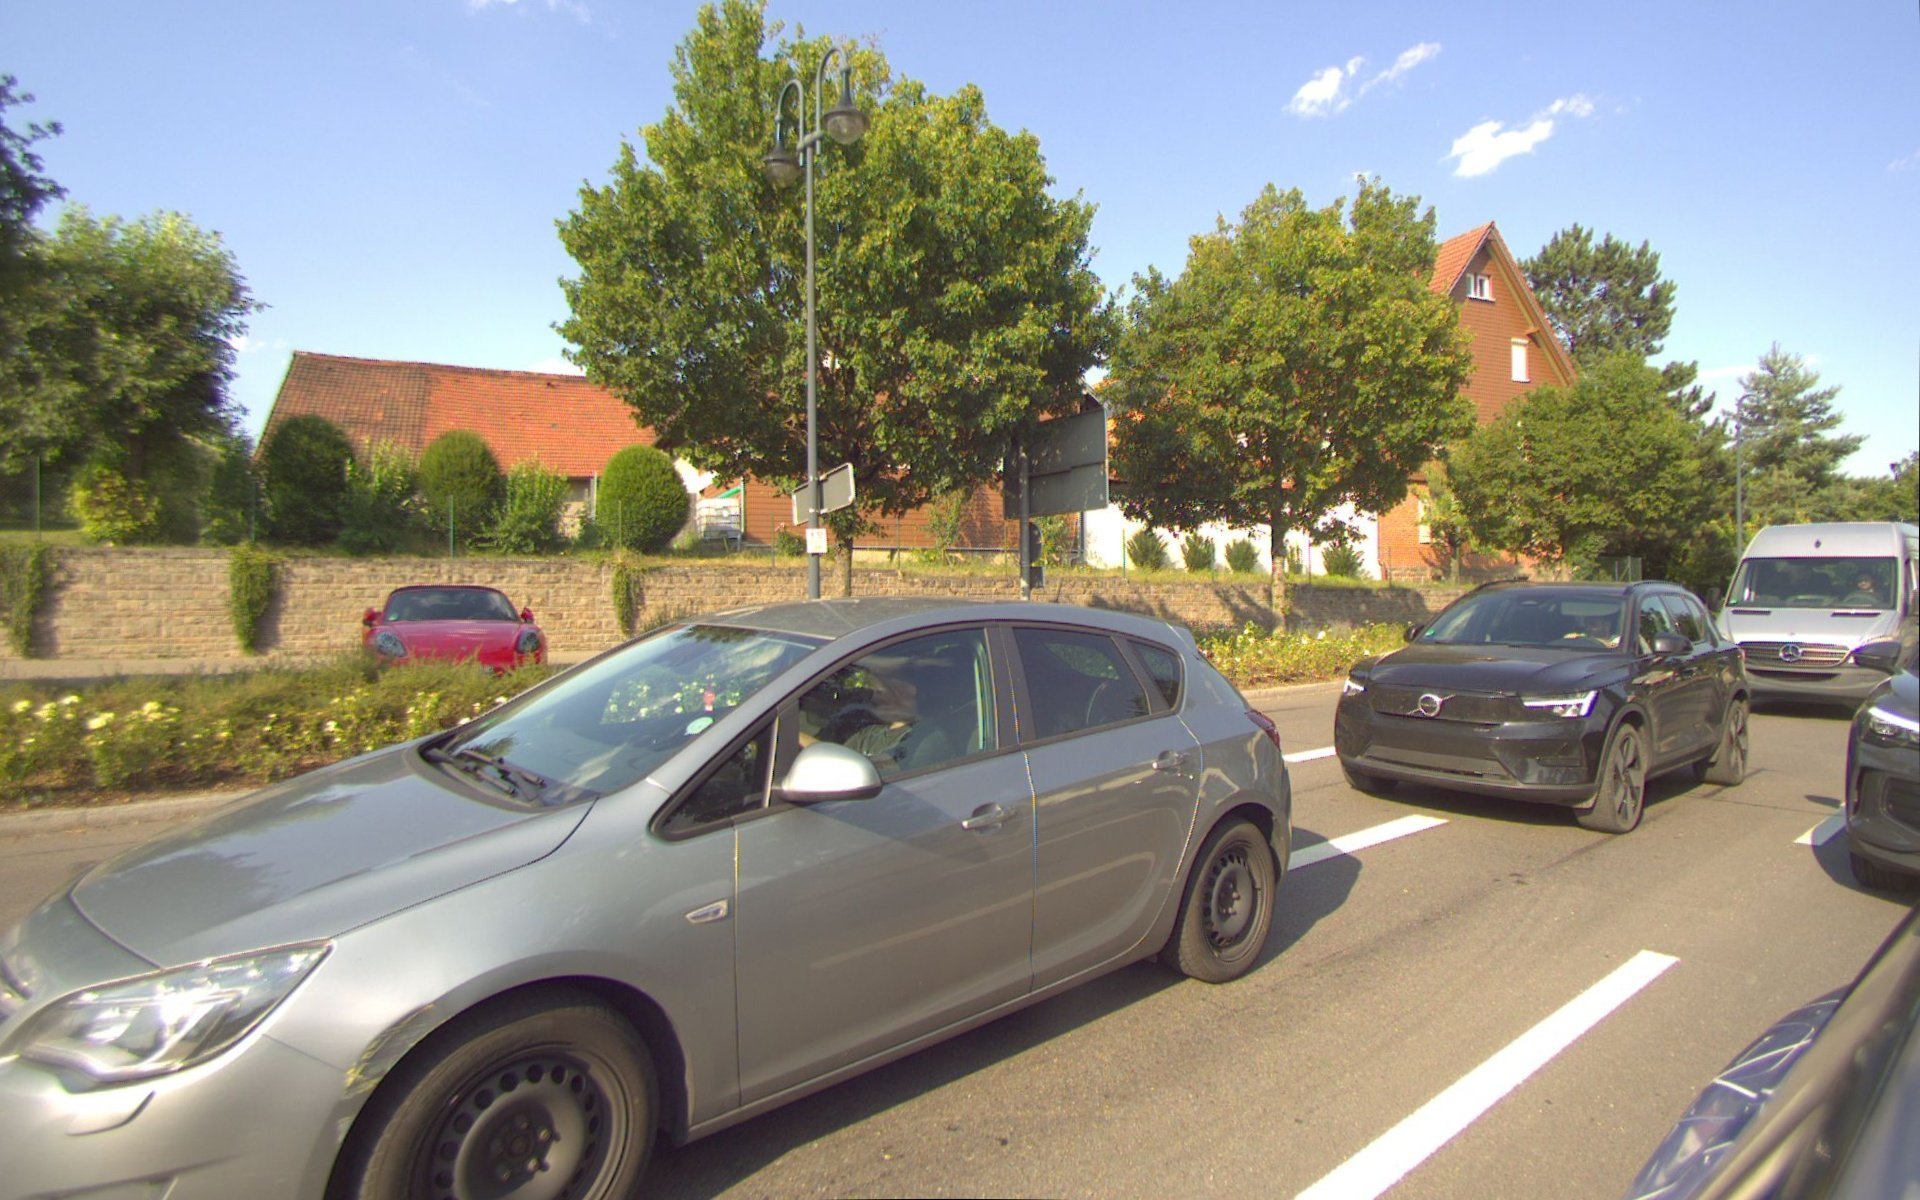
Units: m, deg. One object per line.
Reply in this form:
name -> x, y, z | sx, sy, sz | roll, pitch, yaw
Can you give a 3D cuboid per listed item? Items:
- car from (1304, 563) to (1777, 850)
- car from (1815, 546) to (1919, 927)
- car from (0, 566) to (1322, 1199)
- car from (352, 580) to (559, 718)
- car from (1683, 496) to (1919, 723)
car -> 4.589, 0.588, 7.769 | 4.054, 1.629, 1.885 | 0, 0, -40
car -> 6.375, 0.597, 5.508 | 4.646, 1.677, 1.893 | 0, 0, -40
car -> -0.601, 0.664, 3.489 | 4.095, 1.460, 1.746 | 0, 0, -41
car -> -5.824, 0.448, 11.700 | 1.816, 1.288, 4.005 | 0, 0, -28
car -> 12.527, 0.090, 14.275 | 6.082, 2.579, 2.369 | 0, 0, -40
